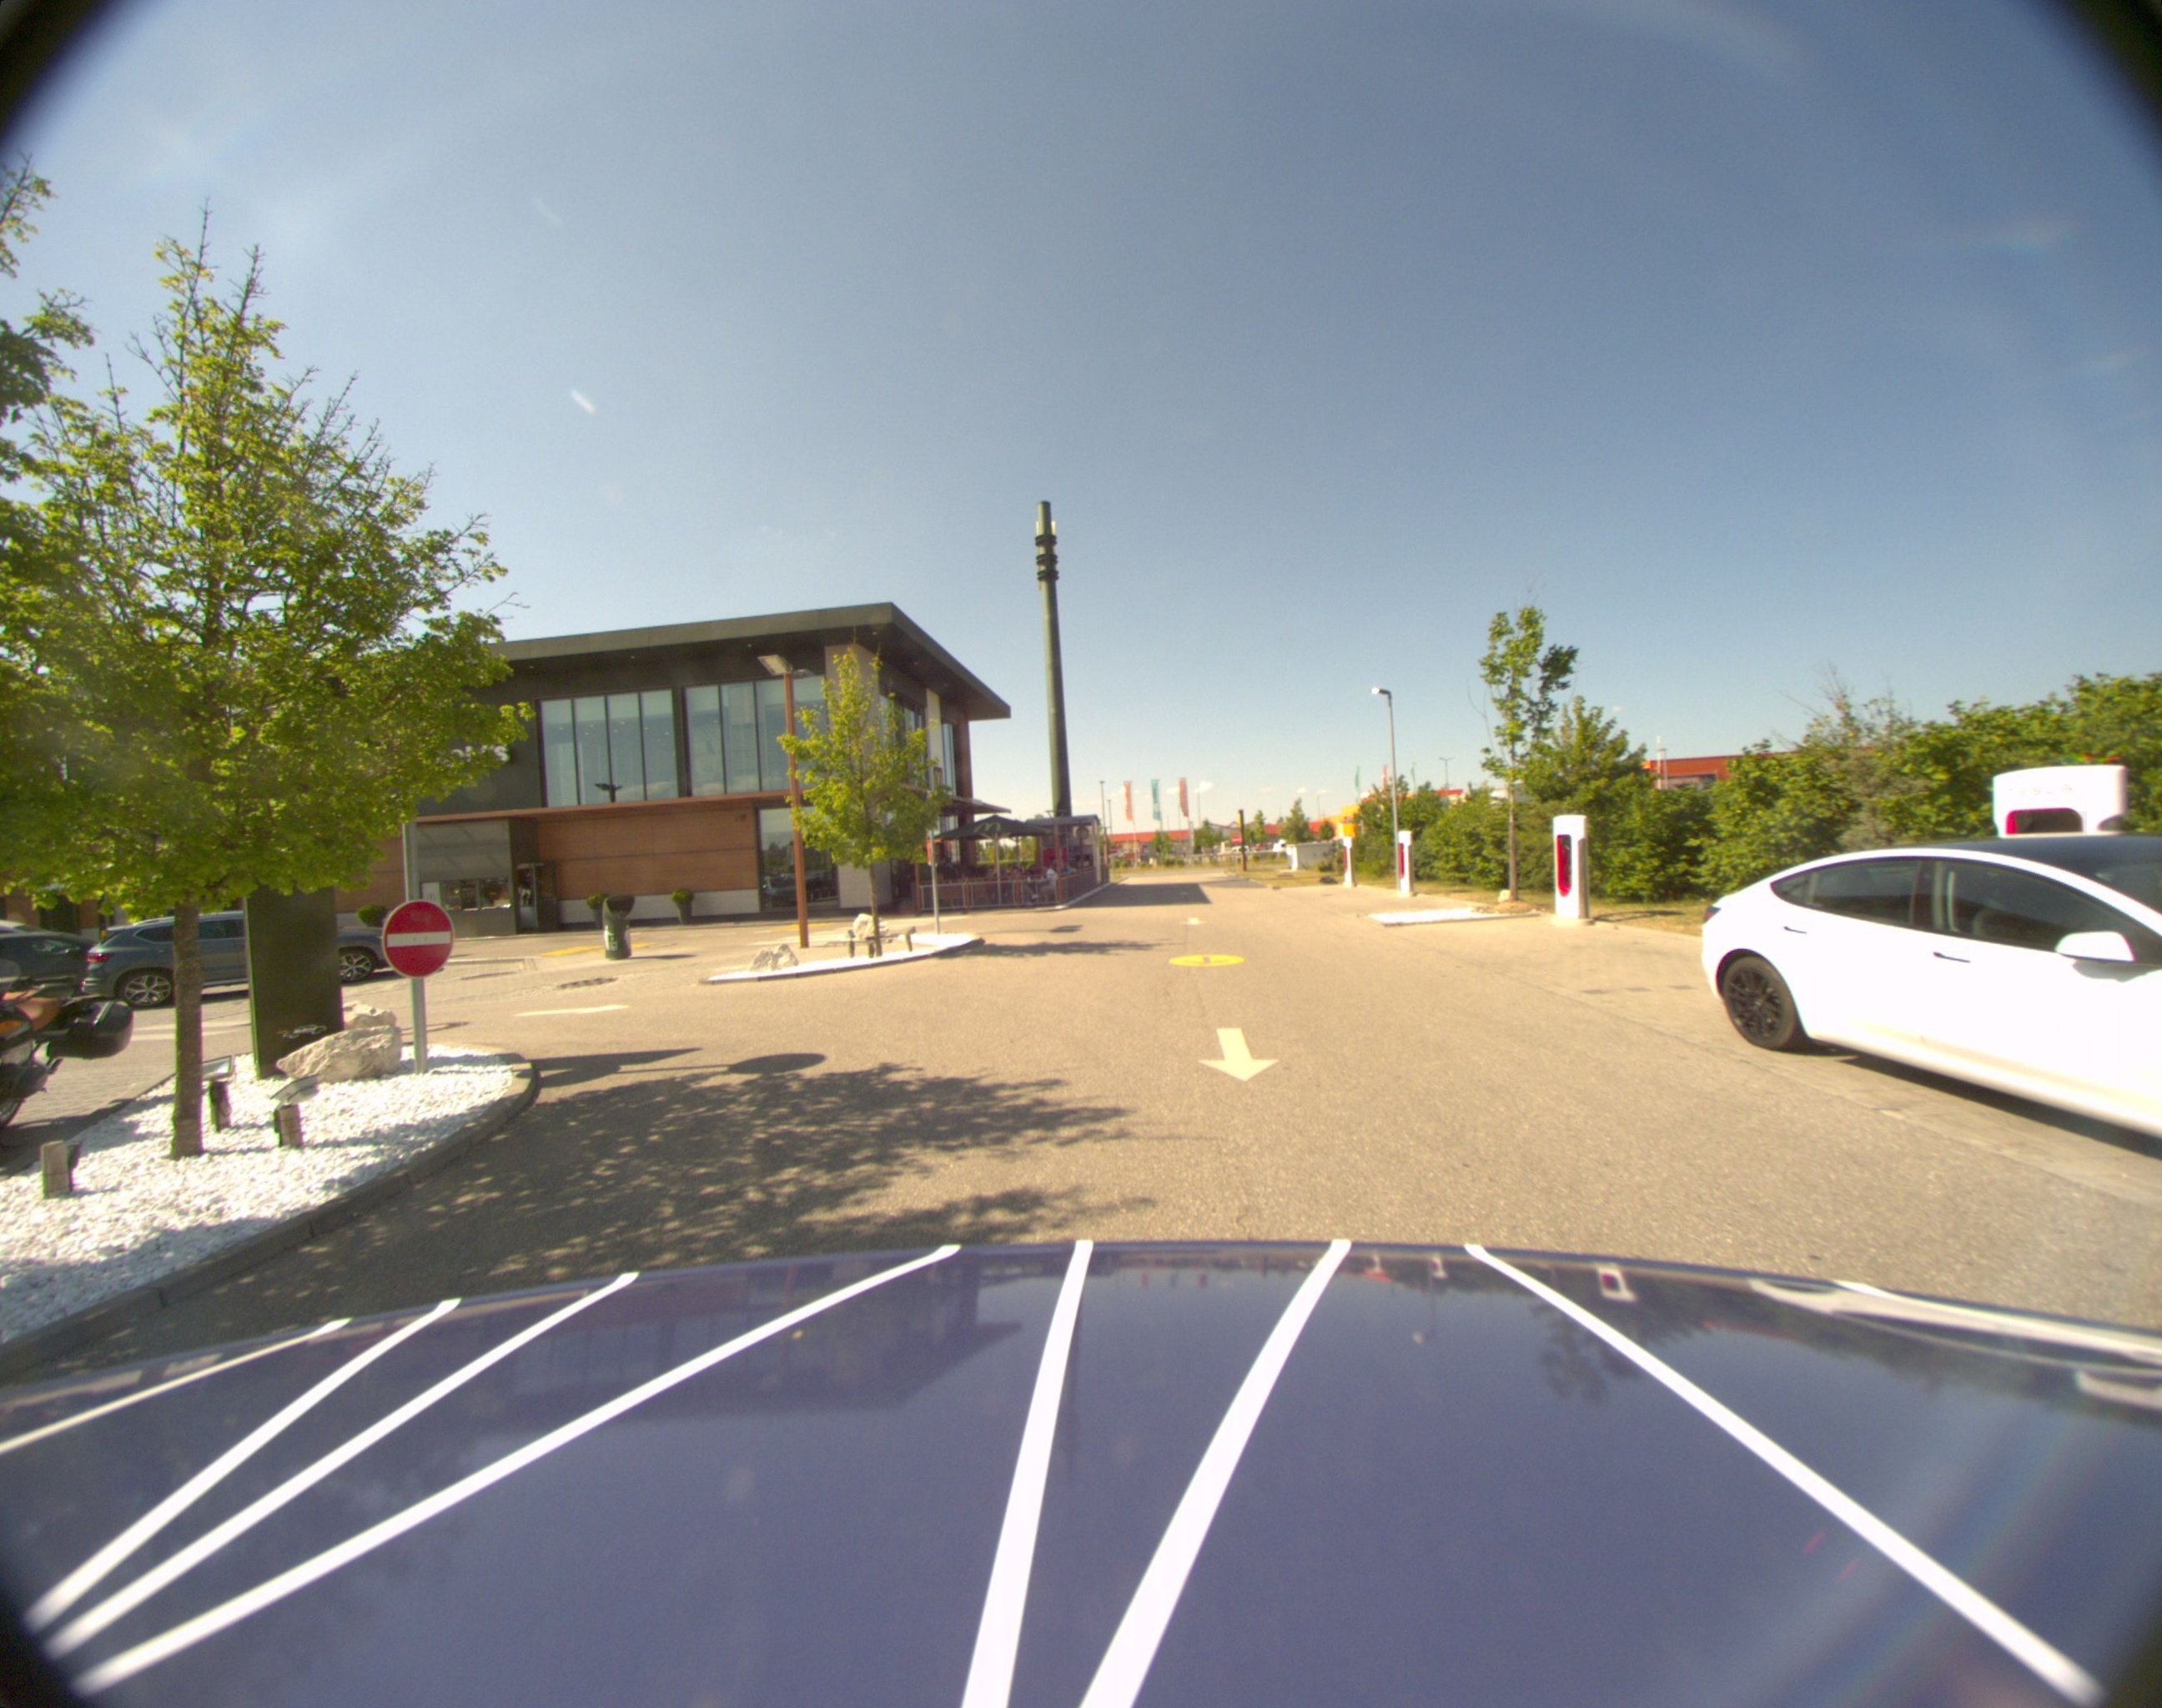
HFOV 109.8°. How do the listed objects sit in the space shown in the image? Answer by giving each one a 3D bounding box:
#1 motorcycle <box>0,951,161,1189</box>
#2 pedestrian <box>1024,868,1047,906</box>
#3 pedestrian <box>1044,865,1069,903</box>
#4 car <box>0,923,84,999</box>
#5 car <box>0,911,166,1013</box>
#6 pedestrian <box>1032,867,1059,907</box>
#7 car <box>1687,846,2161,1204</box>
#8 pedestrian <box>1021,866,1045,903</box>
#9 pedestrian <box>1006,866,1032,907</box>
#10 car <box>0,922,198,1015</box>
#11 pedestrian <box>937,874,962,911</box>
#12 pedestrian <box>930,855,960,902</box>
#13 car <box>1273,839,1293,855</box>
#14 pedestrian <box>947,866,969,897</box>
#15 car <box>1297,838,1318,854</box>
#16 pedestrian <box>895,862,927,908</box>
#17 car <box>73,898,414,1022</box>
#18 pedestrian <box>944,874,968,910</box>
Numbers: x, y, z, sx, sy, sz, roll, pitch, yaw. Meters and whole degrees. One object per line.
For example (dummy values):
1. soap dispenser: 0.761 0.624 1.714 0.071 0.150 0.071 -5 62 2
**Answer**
1. motorcycle: -7.083 1.352 4.885 1.073 1.243 2.247 -5 0 -41
2. pedestrian: -1.538 1.106 25.624 0.634 1.250 0.524 -4 0 3
3. pedestrian: -0.846 1.046 26.360 0.729 1.250 0.573 -4 0 2
4. car: -26.219 2.612 17.456 1.753 1.622 3.851 -3 0 40
5. car: -23.047 2.378 16.263 4.153 1.910 1.754 -3 0 -44
6. pedestrian: -1.154 1.078 24.826 0.729 1.250 0.573 -4 0 2
7. car: 5.388 0.697 3.641 1.820 1.369 4.451 -3 0 8
8. pedestrian: -1.682 1.054 26.538 0.715 1.250 0.524 -4 0 3
9. pedestrian: -2.004 1.038 24.569 0.715 1.250 0.524 -4 0 3
10. car: -20.424 2.289 15.181 3.421 1.473 1.564 -4 0 -44
11. pedestrian: -4.258 1.240 24.564 0.634 1.117 0.524 -4 0 3
12. pedestrian: -5.306 0.954 29.682 0.896 1.758 0.803 -4 0 -2
13. car: 28.059 -0.941 105.483 1.997 2.002 4.002 -3 0 7
14. pedestrian: -4.524 1.014 27.993 0.572 1.094 0.657 -4 0 6
15. car: 31.448 -1.108 105.499 1.997 2.002 4.002 -3 0 7
16. pedestrian: -6.073 1.104 27.170 0.740 1.574 0.729 -4 0 16
17. car: -16.278 1.956 15.188 4.234 1.594 1.786 -6 4 -39
18. pedestrian: -4.146 1.259 25.246 0.634 1.117 0.524 -4 0 3
